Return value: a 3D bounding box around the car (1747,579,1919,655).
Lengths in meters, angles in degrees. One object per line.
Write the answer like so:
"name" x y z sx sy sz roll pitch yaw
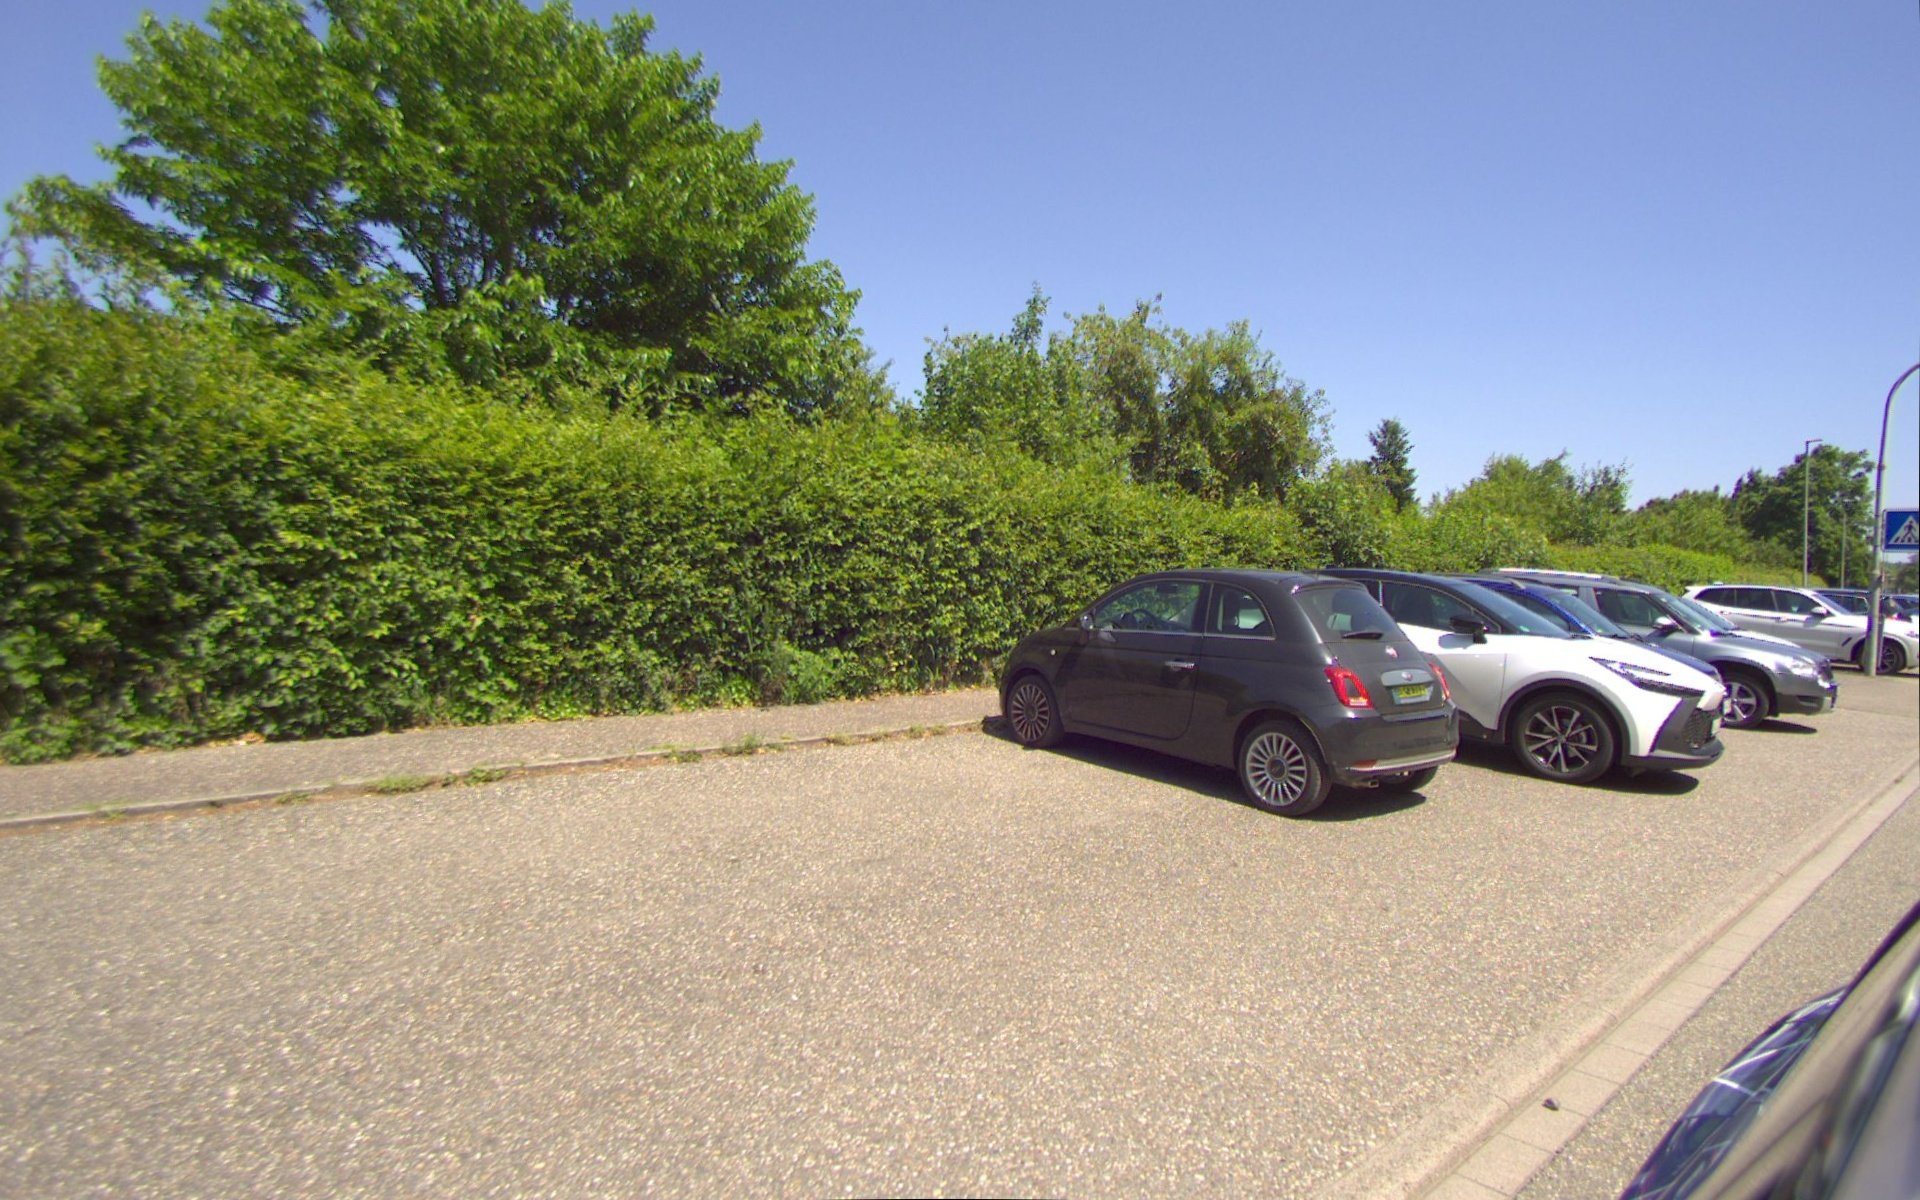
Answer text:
"car" 23.166 0.399 26.190 1.747 1.661 4.164 -1 4 -44

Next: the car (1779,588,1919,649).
"car" 25.329 0.516 27.914 1.651 1.426 4.033 0 4 -43

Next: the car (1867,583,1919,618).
"car" 56.769 0.093 59.901 4.483 1.873 1.669 6 4 44

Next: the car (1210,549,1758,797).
"car" 4.529 0.442 9.127 3.965 1.541 1.835 7 5 43

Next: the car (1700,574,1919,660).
"car" 20.021 0.335 23.724 1.736 1.706 3.980 0 3 -42

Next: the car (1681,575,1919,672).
"car" 18.367 0.427 21.645 1.819 1.750 4.463 -1 4 -41

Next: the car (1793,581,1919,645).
"car" 27.401 0.398 29.892 1.645 1.661 4.034 0 4 -42

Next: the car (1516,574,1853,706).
"car" 10.632 0.495 15.090 1.580 1.468 3.702 1 4 -37

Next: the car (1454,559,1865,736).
"car" 8.671 0.455 12.793 1.637 1.660 3.965 0 5 -45

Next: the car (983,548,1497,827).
"car" 1.865 0.436 7.556 1.559 1.522 3.398 1 3 -38

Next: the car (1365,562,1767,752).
"car" 6.499 0.479 11.082 3.455 1.545 1.515 7 5 44
